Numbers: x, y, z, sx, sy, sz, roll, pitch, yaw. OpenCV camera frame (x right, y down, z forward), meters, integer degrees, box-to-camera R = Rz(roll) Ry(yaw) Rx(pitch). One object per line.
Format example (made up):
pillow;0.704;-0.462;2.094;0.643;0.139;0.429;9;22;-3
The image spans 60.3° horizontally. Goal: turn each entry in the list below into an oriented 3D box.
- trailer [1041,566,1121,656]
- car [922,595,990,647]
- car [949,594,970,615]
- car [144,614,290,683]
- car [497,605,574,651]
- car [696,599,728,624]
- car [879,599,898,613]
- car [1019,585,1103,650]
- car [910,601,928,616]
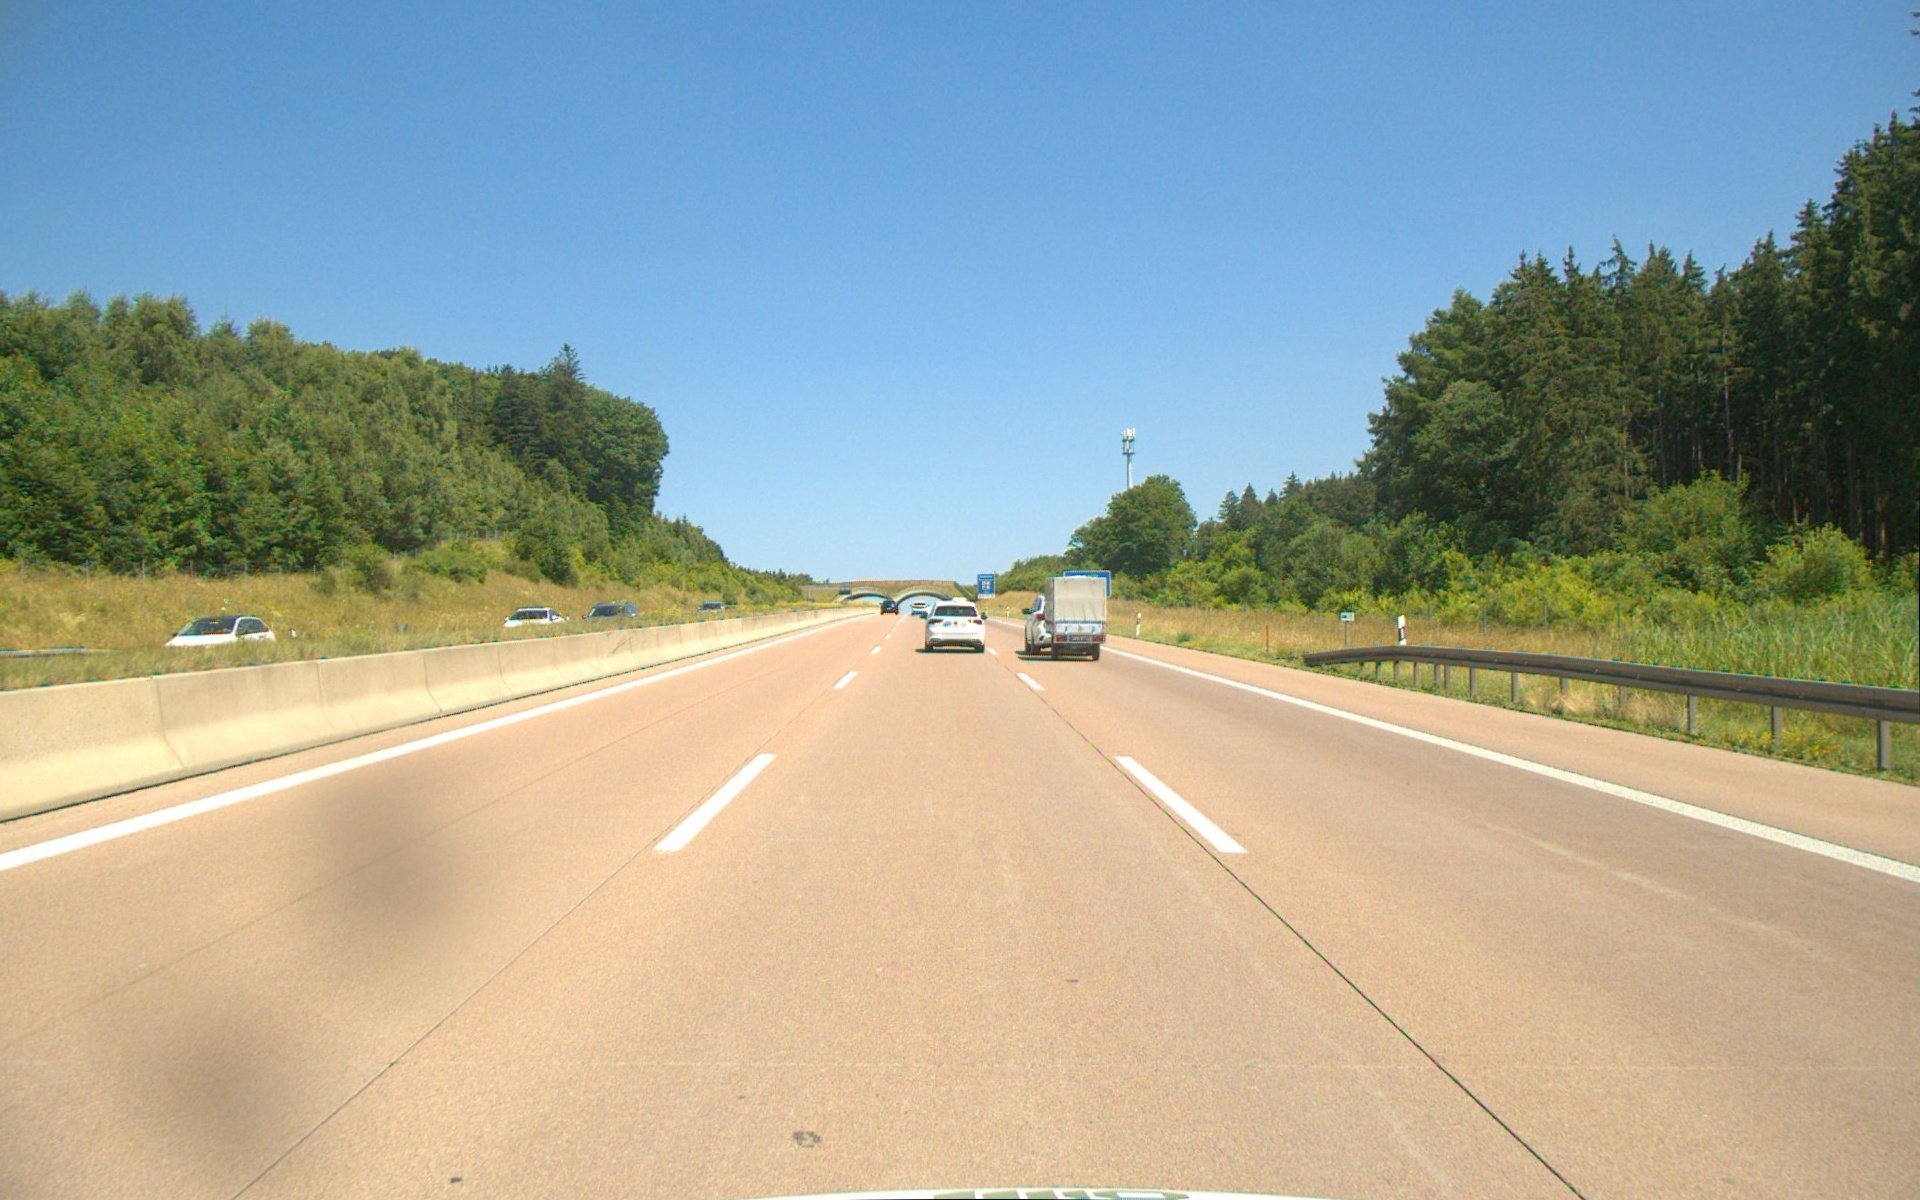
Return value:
trailer;3.087;0.280;42.933;1.624;2.202;4.014;0;0;-2
car;-0.168;0.593;48.339;1.853;1.422;3.999;1;0;-2
car;-0.029;0.427;168.539;2.067;2.090;4.000;0;0;0
car;-19.209;1.213;42.979;1.852;1.621;4.463;0;0;-1
car;-16.172;1.034;63.173;1.852;1.621;4.463;0;0;-1
car;-18.165;0.812;121.446;1.853;1.769;4.461;0;0;-3
car;-8.059;0.694;186.437;1.852;1.489;4.000;0;0;1
car;2.840;0.476;47.483;1.853;1.758;5.183;0;0;-3
car;-4.359;0.891;176.607;1.852;1.489;3.999;1;0;-1
